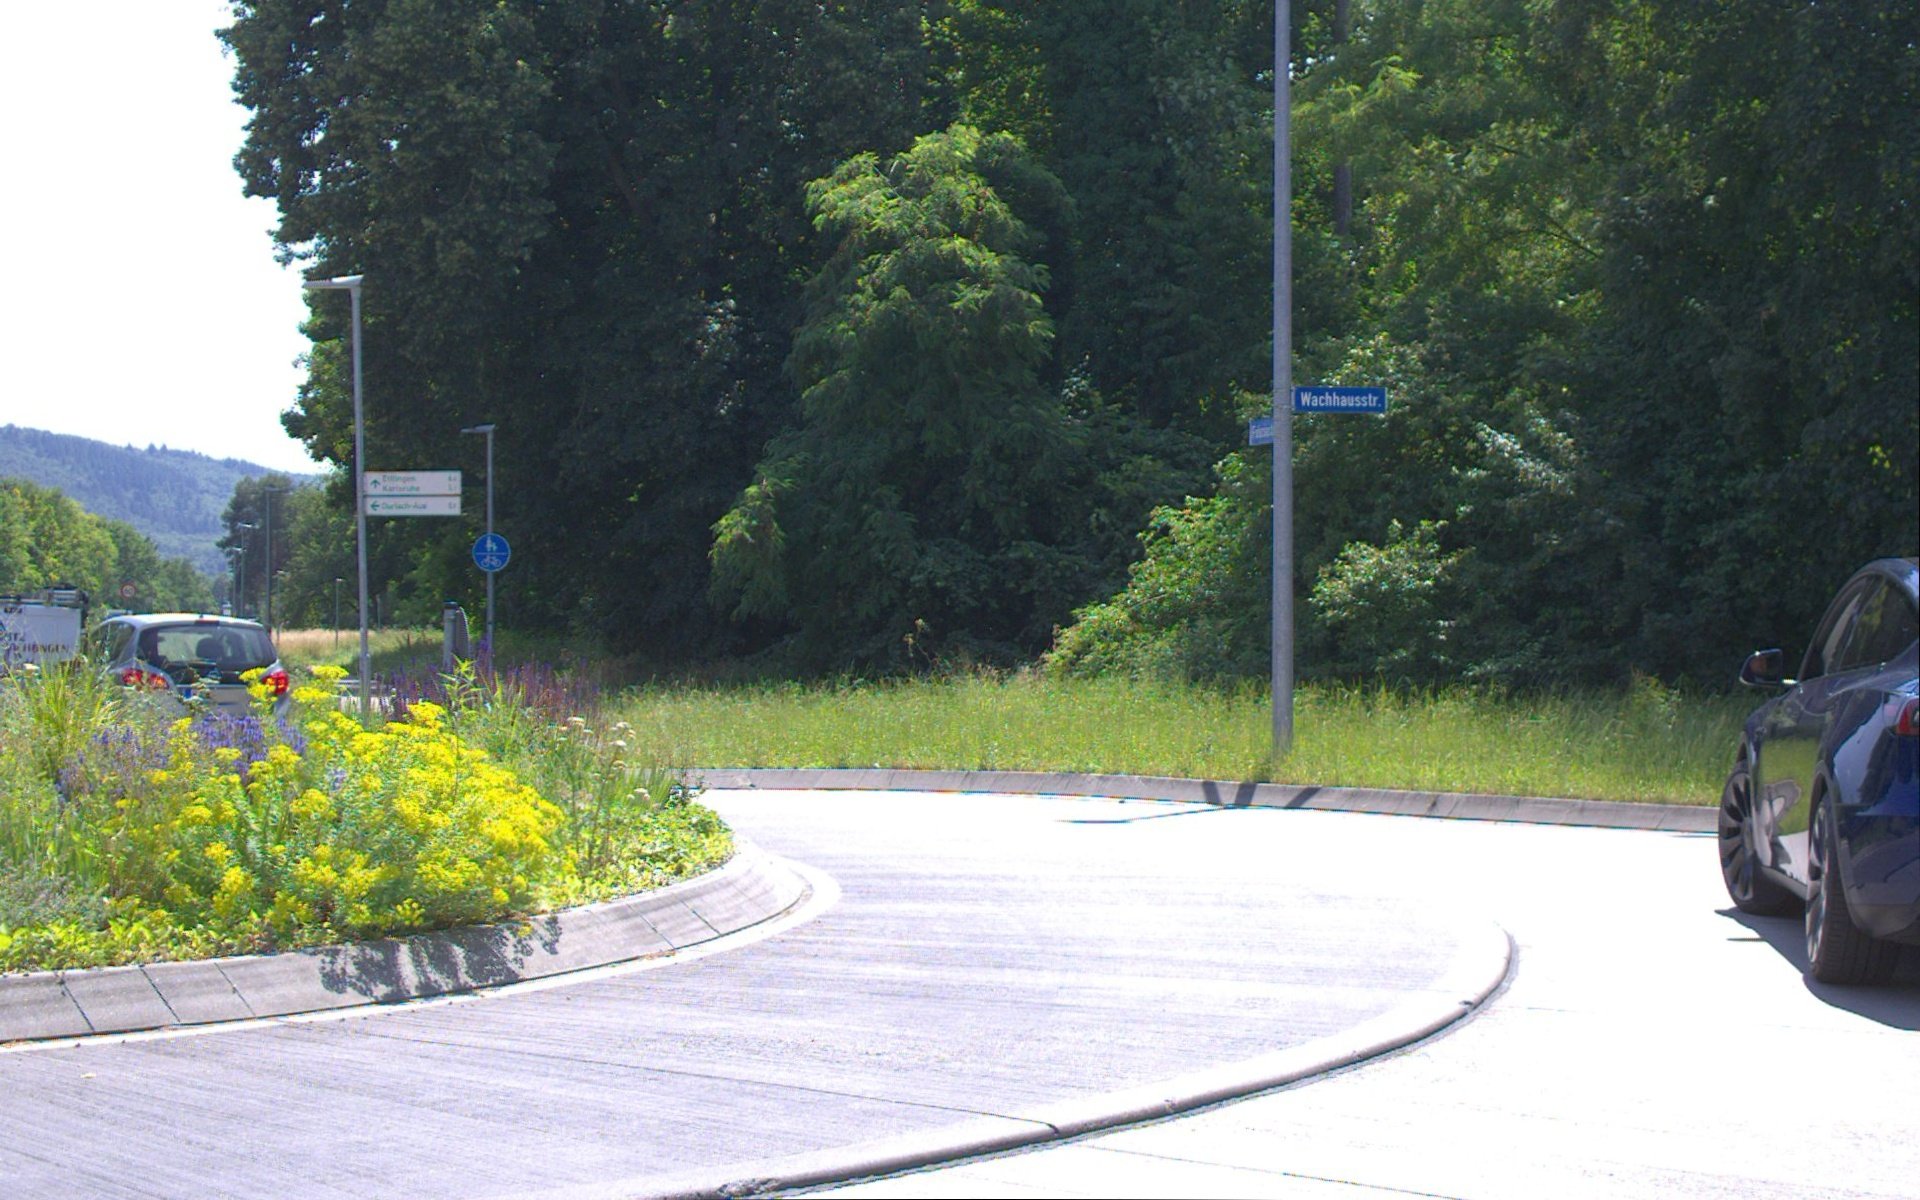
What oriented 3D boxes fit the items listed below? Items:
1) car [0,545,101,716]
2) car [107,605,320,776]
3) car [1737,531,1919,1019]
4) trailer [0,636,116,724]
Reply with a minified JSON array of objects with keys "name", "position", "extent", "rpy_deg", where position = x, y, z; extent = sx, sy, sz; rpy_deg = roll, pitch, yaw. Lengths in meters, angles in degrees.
[{"name":"car","position":[-13.551,0.430,48.915],"extent":[2.165,2.308,4.982],"rpy_deg":[1,-1,-18]},{"name":"car","position":[-7.524,0.875,34.415],"extent":[1.784,1.601,4.128],"rpy_deg":[1,-1,-16]},{"name":"car","position":[4.210,0.593,13.739],"extent":[1.994,1.634,4.755],"rpy_deg":[0,0,11]},{"name":"trailer","position":[-12.277,1.026,44.981],"extent":[2.121,1.094,3.355],"rpy_deg":[1,-1,-18]}]
